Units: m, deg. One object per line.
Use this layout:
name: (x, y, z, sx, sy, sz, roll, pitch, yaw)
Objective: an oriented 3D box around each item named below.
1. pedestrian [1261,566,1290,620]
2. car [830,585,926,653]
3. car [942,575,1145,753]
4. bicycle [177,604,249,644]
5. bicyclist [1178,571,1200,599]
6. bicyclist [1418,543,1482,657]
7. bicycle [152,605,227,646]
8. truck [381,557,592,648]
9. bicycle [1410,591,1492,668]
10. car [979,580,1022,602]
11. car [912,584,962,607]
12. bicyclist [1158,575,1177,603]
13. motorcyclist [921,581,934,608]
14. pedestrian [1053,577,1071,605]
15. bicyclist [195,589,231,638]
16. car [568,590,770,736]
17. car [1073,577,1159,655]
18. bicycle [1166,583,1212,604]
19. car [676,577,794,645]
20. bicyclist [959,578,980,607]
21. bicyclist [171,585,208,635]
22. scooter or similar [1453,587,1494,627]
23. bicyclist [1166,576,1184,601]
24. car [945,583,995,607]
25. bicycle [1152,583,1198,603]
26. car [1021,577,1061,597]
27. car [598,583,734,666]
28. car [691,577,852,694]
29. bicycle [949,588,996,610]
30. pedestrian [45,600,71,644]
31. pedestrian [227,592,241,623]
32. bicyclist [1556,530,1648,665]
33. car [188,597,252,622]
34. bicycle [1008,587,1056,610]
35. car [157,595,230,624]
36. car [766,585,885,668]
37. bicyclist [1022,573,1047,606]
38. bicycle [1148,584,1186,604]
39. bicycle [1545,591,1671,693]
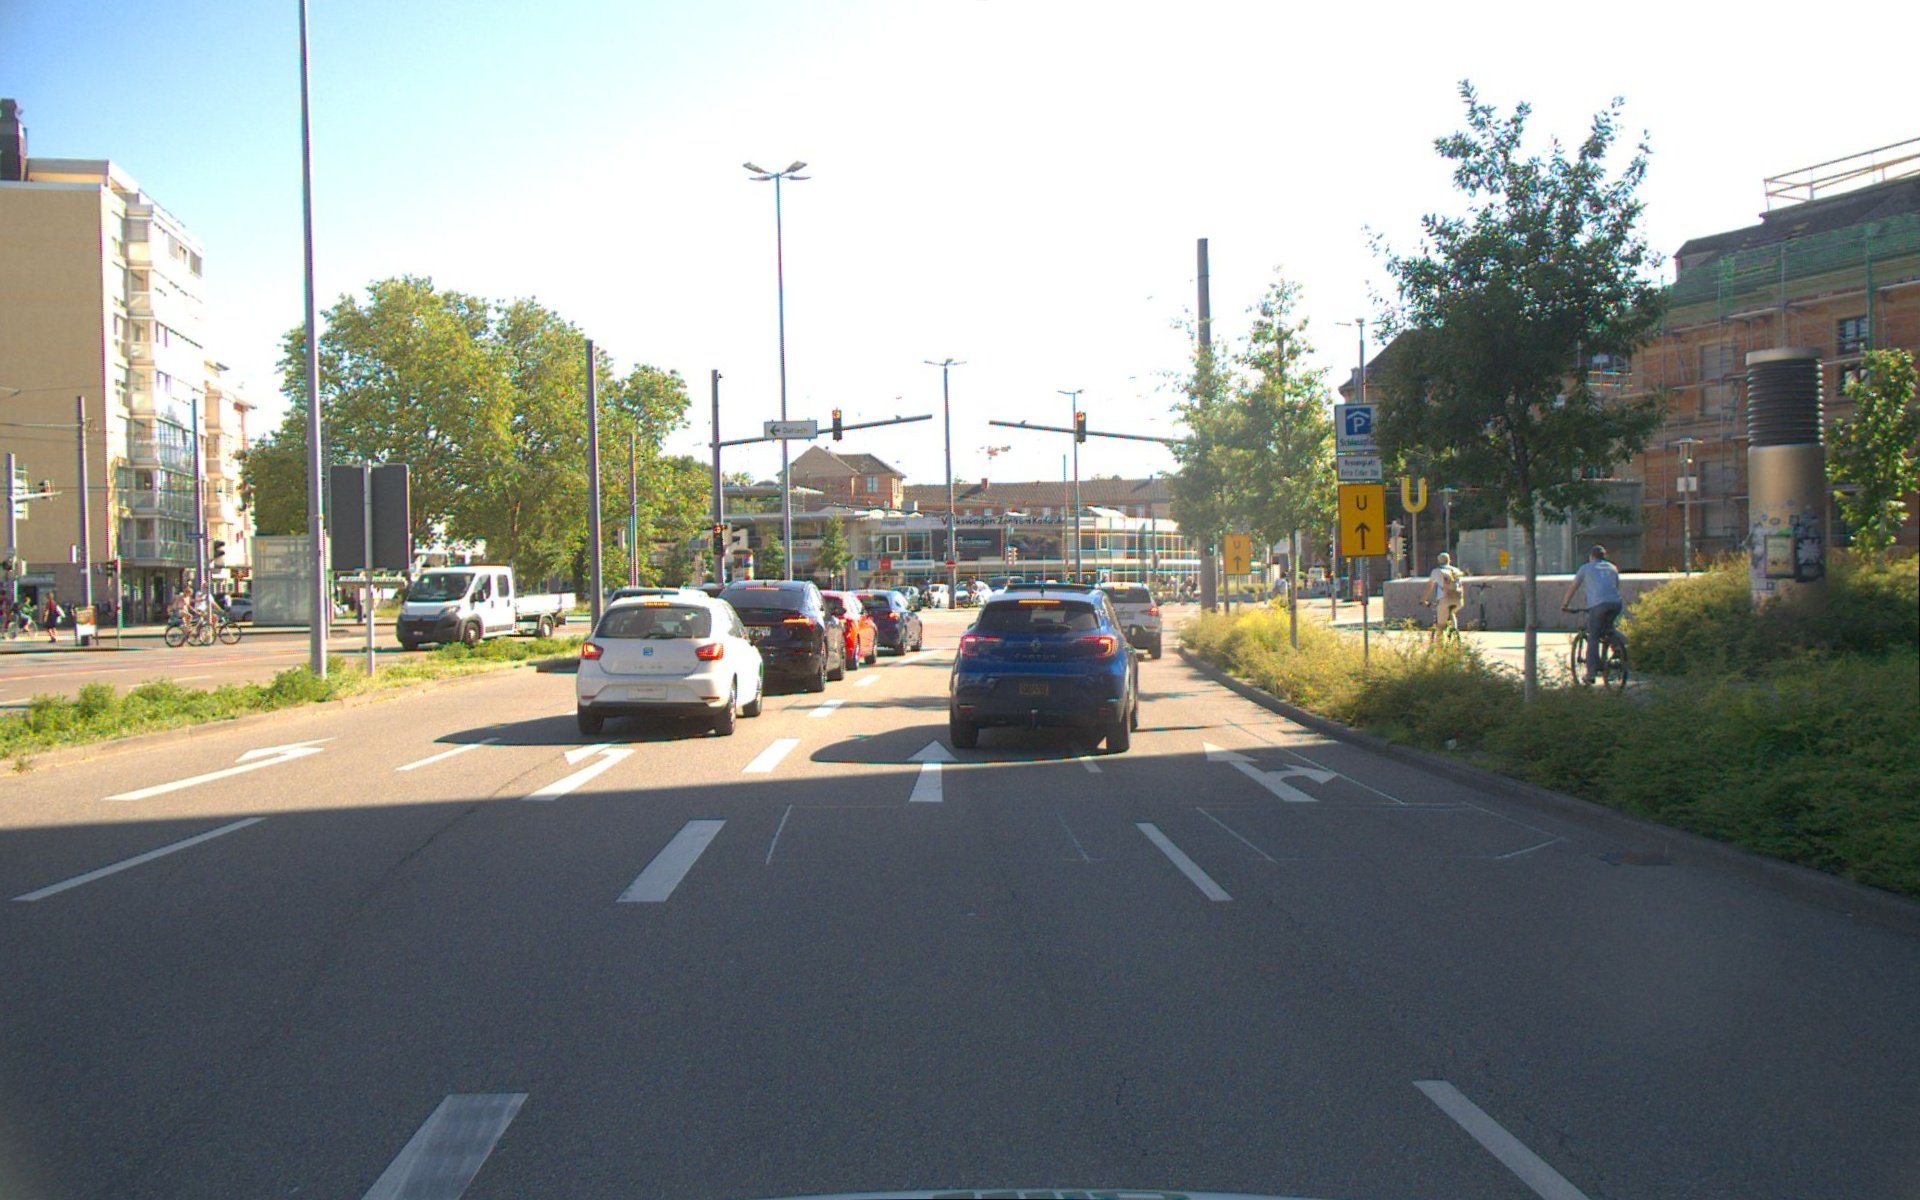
pedestrian: (10.444, -0.240, 54.696, 0.585, 1.753, 0.866, -2, -2, 40)
car: (-1.856, 0.404, 38.338, 1.688, 1.467, 3.801, 1, 1, 5)
car: (0.989, 0.586, 17.413, 1.837, 1.646, 3.800, 1, 0, 7)
bicycle: (-22.567, 0.716, 49.982, 1.910, 1.185, 0.643, 0, 0, 2)
bicyclist: (13.876, -0.923, 100.234, 1.044, 1.611, 0.944, -1, 2, -13)
bicyclist: (7.942, -0.004, 26.841, 0.705, 1.793, 0.978, -1, 1, -1)
bicycle: (-22.780, 0.740, 48.928, 1.910, 1.185, 0.643, 0, 0, 2)
truck: (-13.123, 0.037, 46.477, 2.168, 2.354, 6.886, -1, 0, 19)
bicycle: (7.952, 0.458, 26.882, 0.731, 1.185, 1.870, -1, 1, -1)
car: (2.932, -0.652, 118.040, 1.690, 1.467, 4.183, 1, 1, 22)
car: (-1.467, -0.294, 106.505, 1.690, 1.467, 4.184, -1, 0, 22)
bicyclist: (12.384, -0.668, 98.764, 0.968, 1.632, 0.756, -1, 0, -12)
motorcyclist: (-1.956, -0.343, 99.650, 0.538, 1.649, 0.745, -1, 0, 19)
pedestrian: (6.146, -0.534, 99.323, 0.692, 1.638, 0.846, 2, 3, 44)
bicyclist: (-22.574, 0.404, 49.990, 0.758, 1.469, 0.643, 0, 0, 2)
car: (-3.163, 0.632, 18.628, 1.657, 1.461, 3.736, 1, 0, -1)
car: (3.574, 0.335, 37.429, 1.837, 1.646, 3.628, 1, 0, 7)
bicycle: (13.881, -0.406, 100.336, 2.601, 1.209, 0.944, -1, 3, -13)
car: (-5.190, 0.233, 38.648, 1.688, 1.467, 3.913, 1, 1, 8)
bicyclist: (0.570, -0.432, 95.907, 1.044, 1.611, 0.944, -1, 2, -13)
bicyclist: (-22.787, 0.293, 48.920, 0.758, 1.469, 0.643, 0, 0, 3)
scooter or similar: (13.898, 0.178, 44.775, 0.460, 1.030, 1.244, -1, 3, -17)
bicyclist: (12.630, -0.687, 97.274, 0.942, 1.474, 0.969, -1, 0, -1)
car: (0.656, -0.310, 104.069, 1.690, 1.467, 4.184, -1, 0, 22)
bicycle: (12.652, -0.397, 97.272, 2.589, 1.114, 0.969, -1, 0, -1)
car: (6.152, -0.956, 124.725, 1.690, 1.467, 4.183, 1, 1, 22)
car: (-5.503, 0.413, 31.431, 1.689, 1.467, 3.800, -1, 0, 3)
car: (-2.825, 0.483, 25.697, 1.943, 1.652, 4.378, 0, 0, 1)
bicycle: (0.715, -0.058, 95.971, 2.601, 1.209, 0.944, -1, 3, -13)
pedestrian: (-30.282, 0.737, 55.508, 0.583, 1.432, 0.567, -1, 2, -12)
pedestrian: (-39.252, 0.397, 89.437, 0.597, 1.638, 0.796, -1, 2, -18)
bicyclist: (8.115, -0.038, 20.939, 0.706, 1.645, 0.976, -1, 1, -6)
car: (-43.062, 0.557, 96.307, 3.209, 1.339, 1.519, -1, 3, -16)
bicycle: (4.086, -0.106, 93.979, 2.608, 1.209, 0.942, -1, 3, -21)
car: (-42.404, 0.527, 91.572, 3.375, 1.537, 1.686, -1, 0, -15)
car: (-2.526, 0.457, 31.861, 1.636, 1.467, 3.724, 1, 1, 5)
bicyclist: (4.227, -0.596, 94.030, 1.166, 1.807, 0.942, -1, 3, -21)
bicycle: (12.380, -0.362, 98.764, 2.140, 1.114, 0.756, -1, 0, -12)
bicycle: (8.138, 0.500, 20.856, 0.702, 1.185, 1.868, -1, 1, -5)
